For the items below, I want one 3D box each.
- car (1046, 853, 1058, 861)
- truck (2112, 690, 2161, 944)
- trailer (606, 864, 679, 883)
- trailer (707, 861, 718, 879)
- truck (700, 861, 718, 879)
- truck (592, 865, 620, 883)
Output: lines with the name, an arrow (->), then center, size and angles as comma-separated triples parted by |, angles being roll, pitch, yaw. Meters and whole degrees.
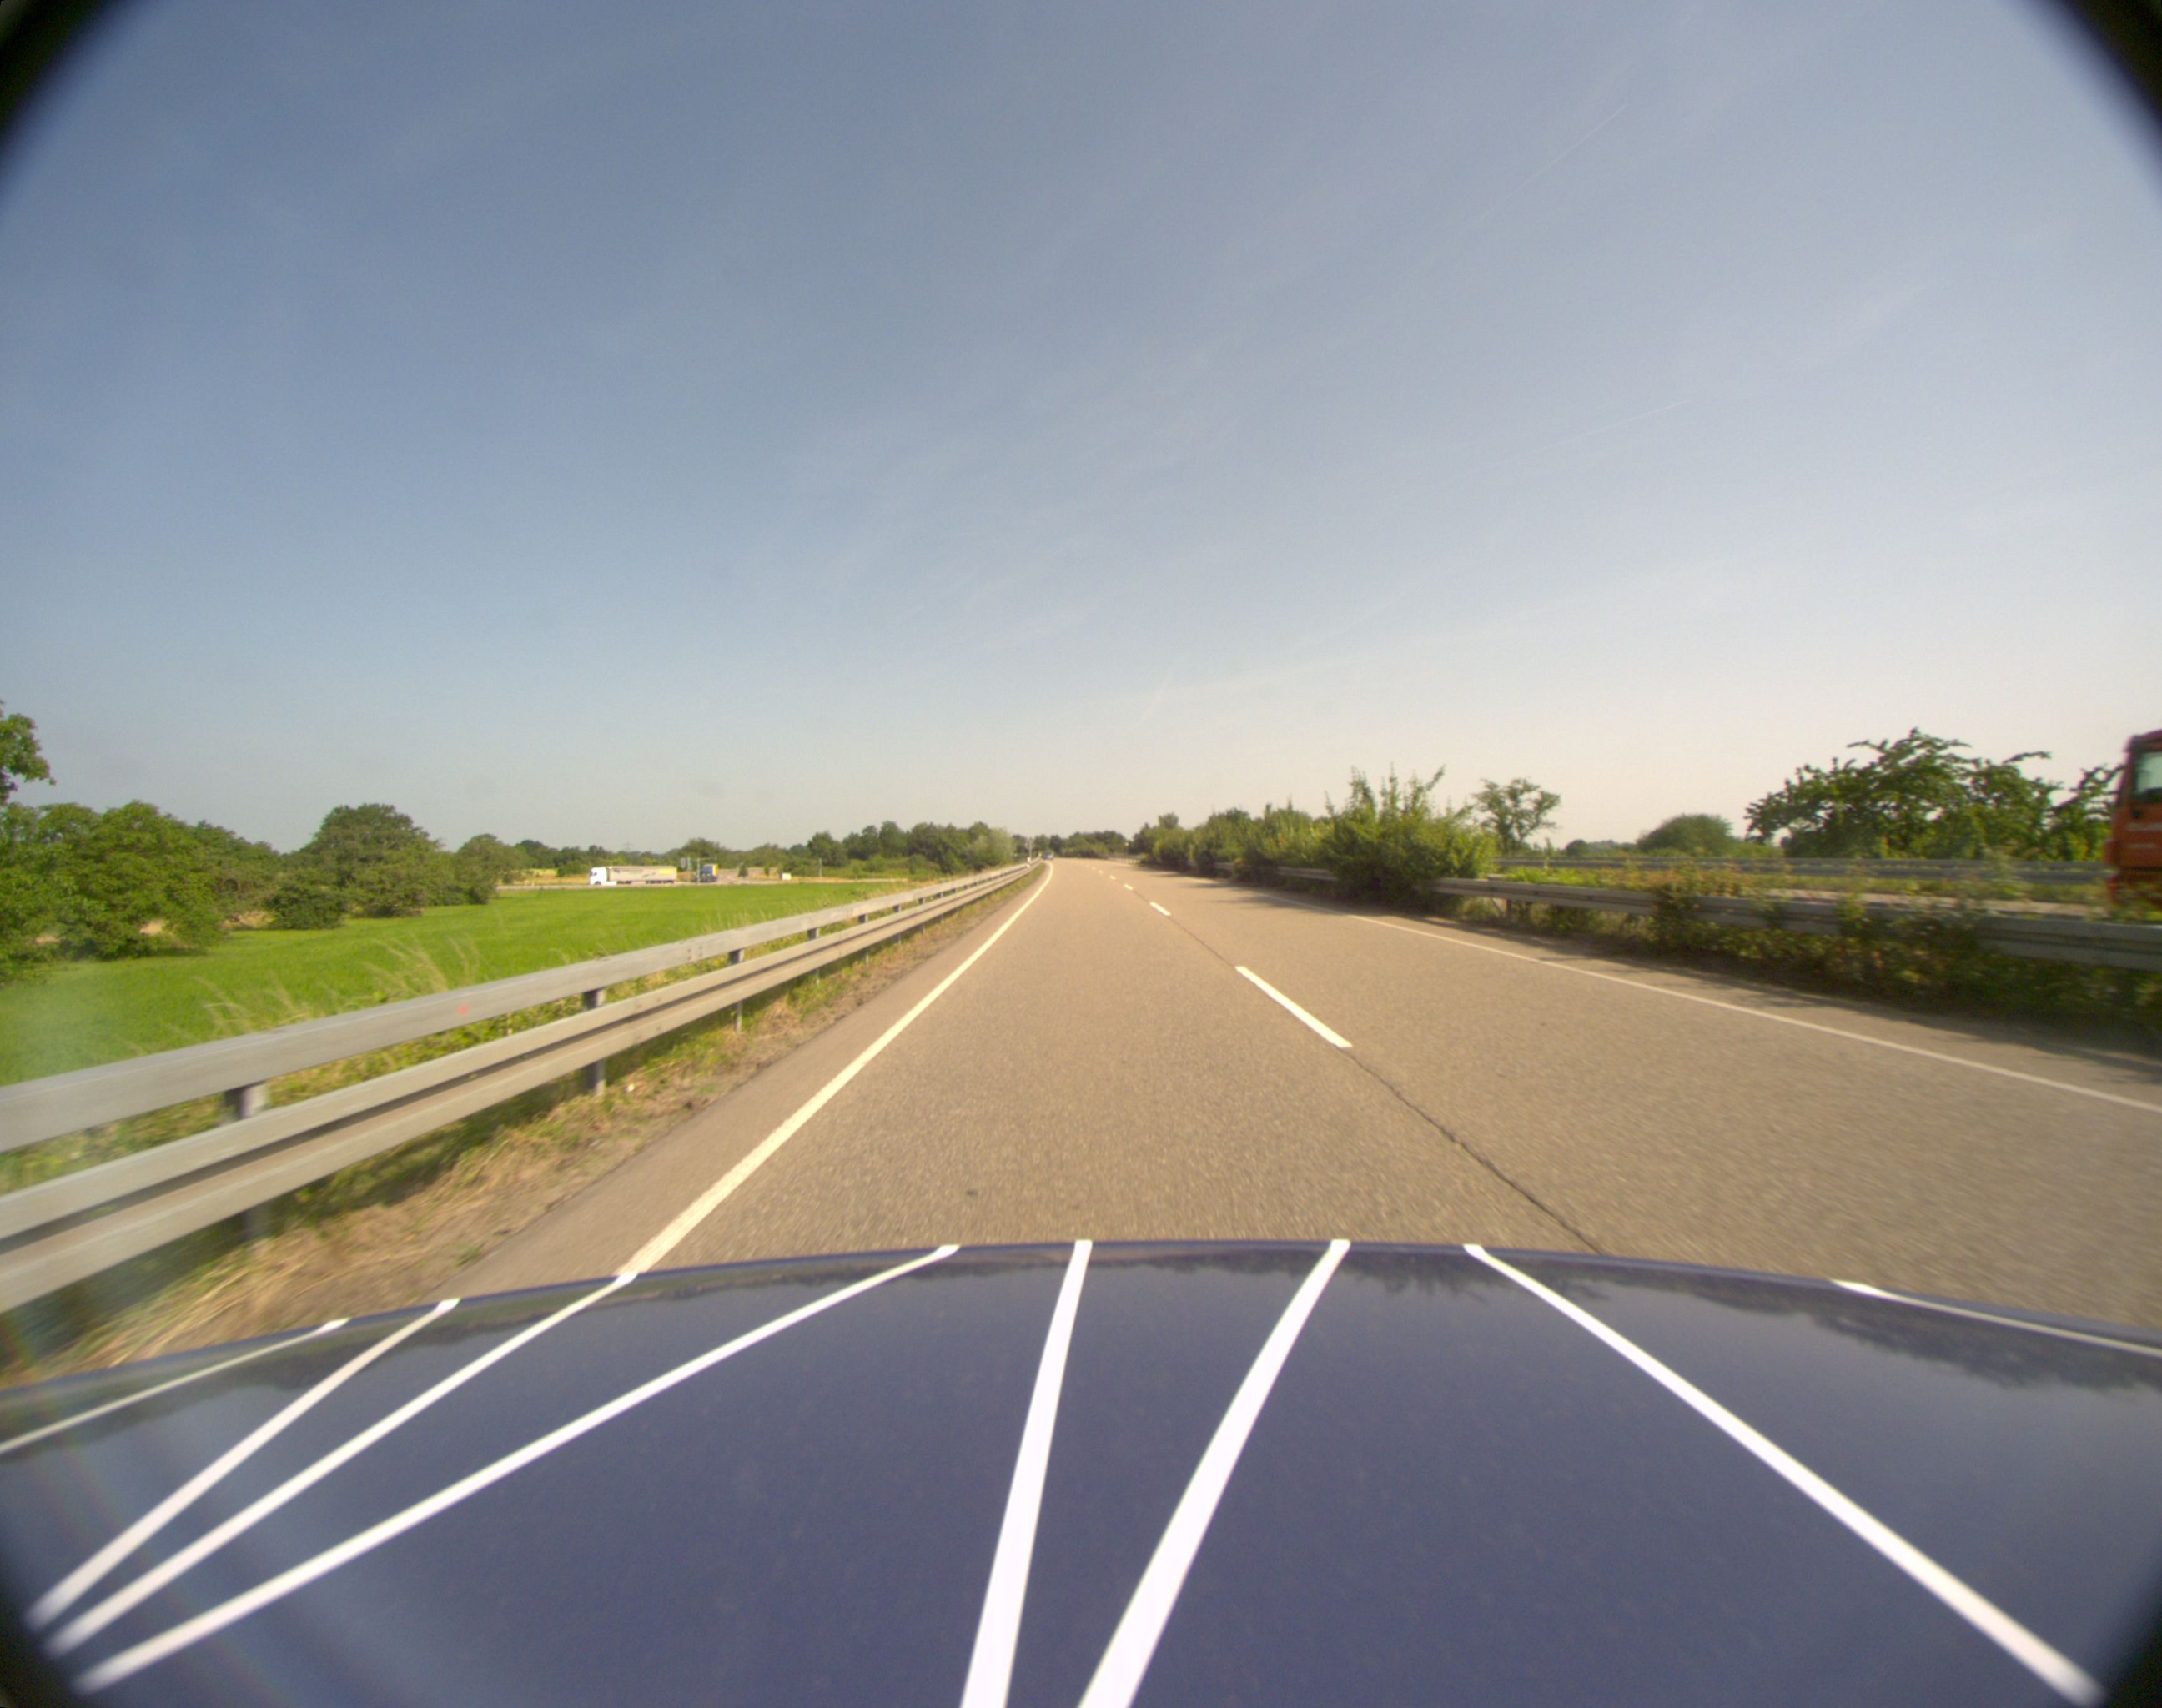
car -> -5.474, 0.547, 143.680 | 1.704, 1.474, 3.598 | -3, -1, -9
truck -> 15.332, -0.492, 7.743 | 1.999, 3.356, 5.627 | -2, 1, 0
trailer -> -96.649, 4.226, 167.984 | 2.102, 3.631, 13.959 | -1, 0, 42
trailer -> -91.299, 3.824, 188.229 | 2.265, 4.145, 14.395 | -1, 0, -25
truck -> -89.056, 3.792, 181.955 | 2.261, 4.145, 4.370 | -1, 0, -4
truck -> -101.700, 4.339, 162.711 | 4.951, 3.656, 2.103 | -1, 0, -34
